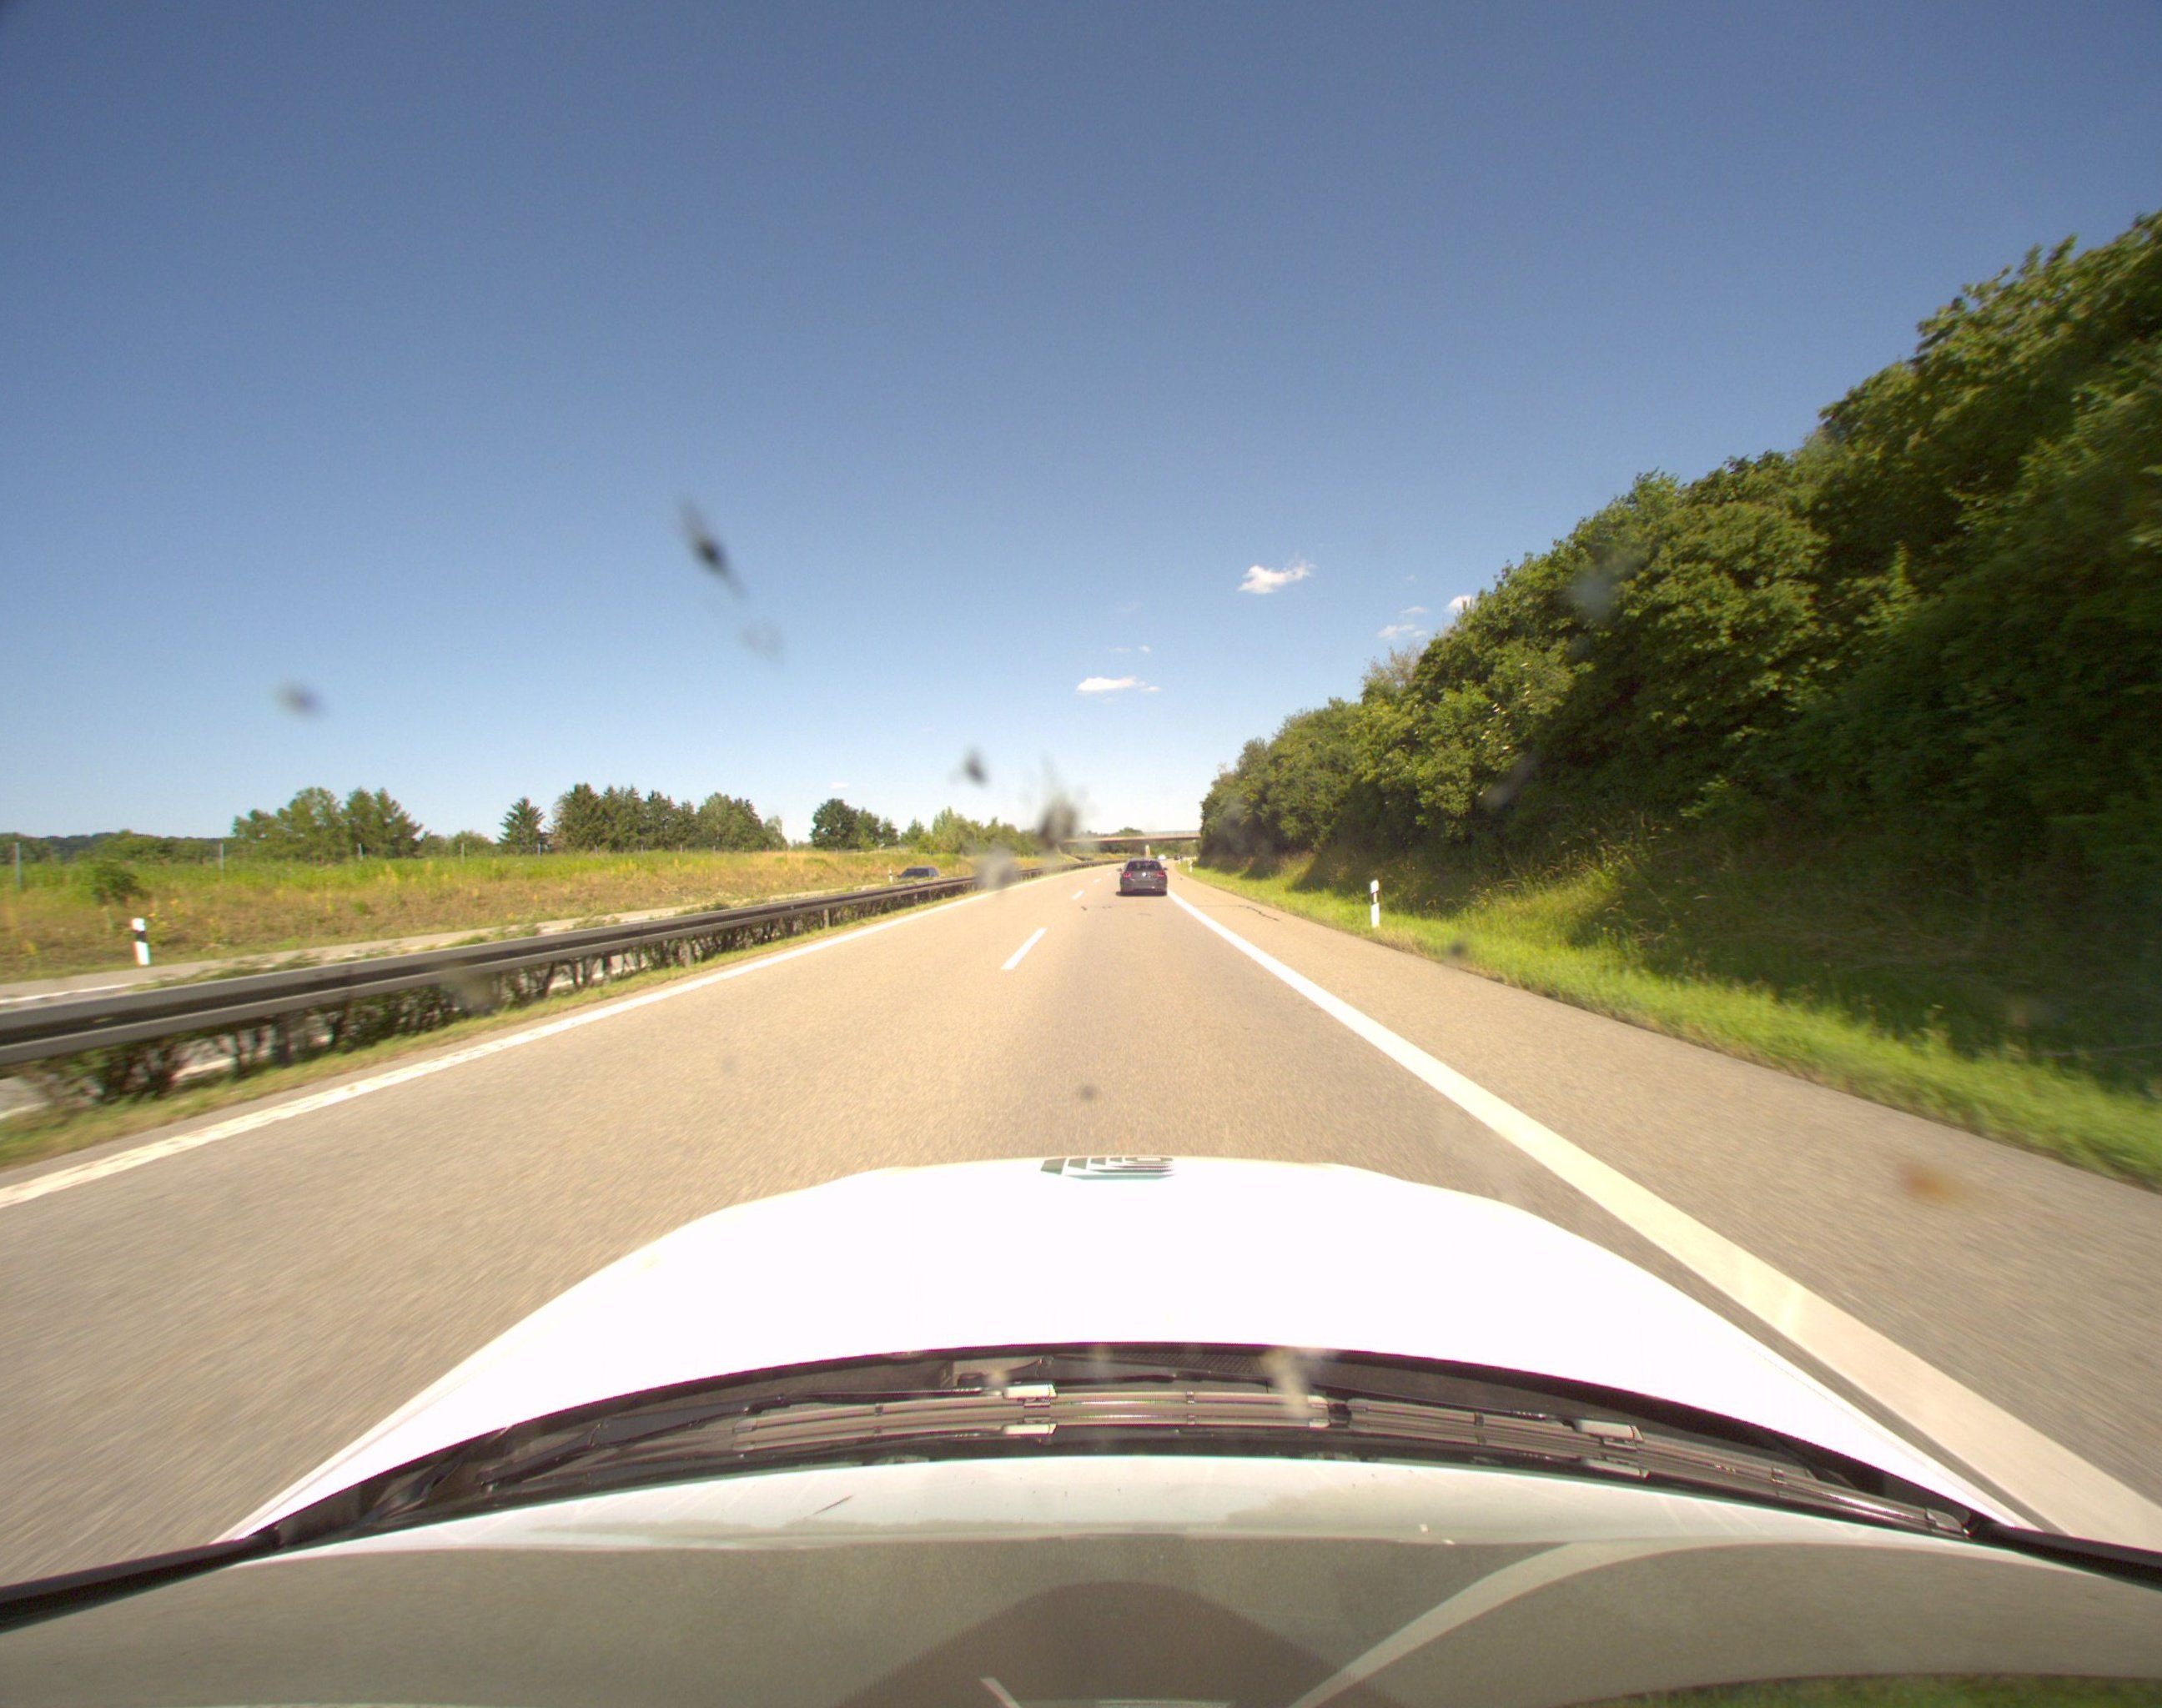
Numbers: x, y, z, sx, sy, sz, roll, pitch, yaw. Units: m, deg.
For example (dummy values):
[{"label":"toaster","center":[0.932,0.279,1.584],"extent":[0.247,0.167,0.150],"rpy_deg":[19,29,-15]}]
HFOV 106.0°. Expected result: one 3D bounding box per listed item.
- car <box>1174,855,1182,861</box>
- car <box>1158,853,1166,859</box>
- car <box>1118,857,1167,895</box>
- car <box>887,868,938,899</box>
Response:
[{"label":"car","center":[25.016,0.959,210.472],"extent":[1.703,1.387,3.357],"rpy_deg":[0,-2,3]},{"label":"car","center":[20.689,0.443,207.862],"extent":[1.997,1.345,4.005],"rpy_deg":[0,-2,5]},{"label":"car","center":[2.412,0.816,31.685],"extent":[1.783,1.344,4.005],"rpy_deg":[0,0,4]},{"label":"car","center":[-9.047,1.559,44.122],"extent":[1.826,1.508,4.541],"rpy_deg":[0,-1,0]}]
